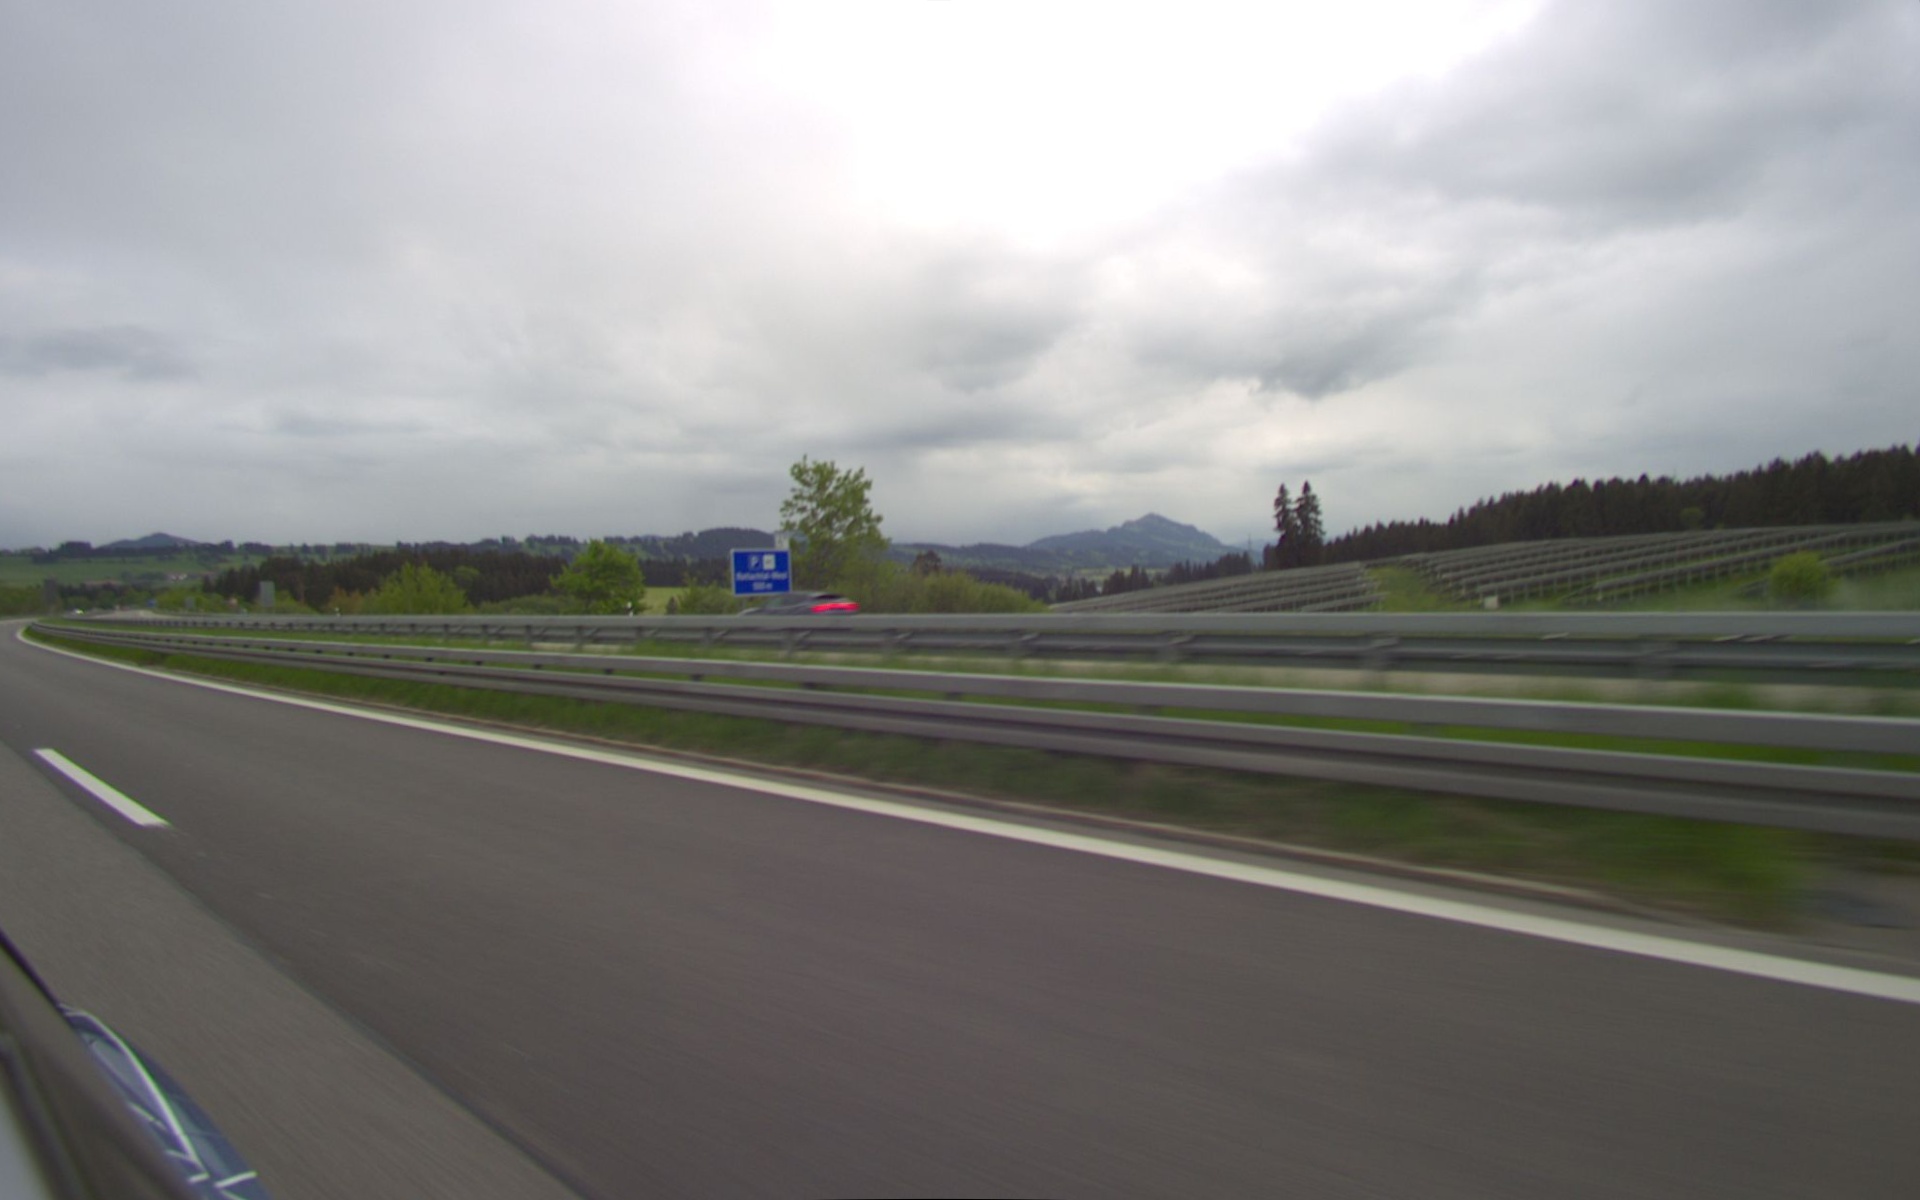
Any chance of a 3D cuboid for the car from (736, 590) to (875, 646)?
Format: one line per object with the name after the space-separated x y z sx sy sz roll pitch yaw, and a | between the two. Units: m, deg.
-4.800 0.557 31.178 4.149 1.509 1.973 -2 2 41 | car
